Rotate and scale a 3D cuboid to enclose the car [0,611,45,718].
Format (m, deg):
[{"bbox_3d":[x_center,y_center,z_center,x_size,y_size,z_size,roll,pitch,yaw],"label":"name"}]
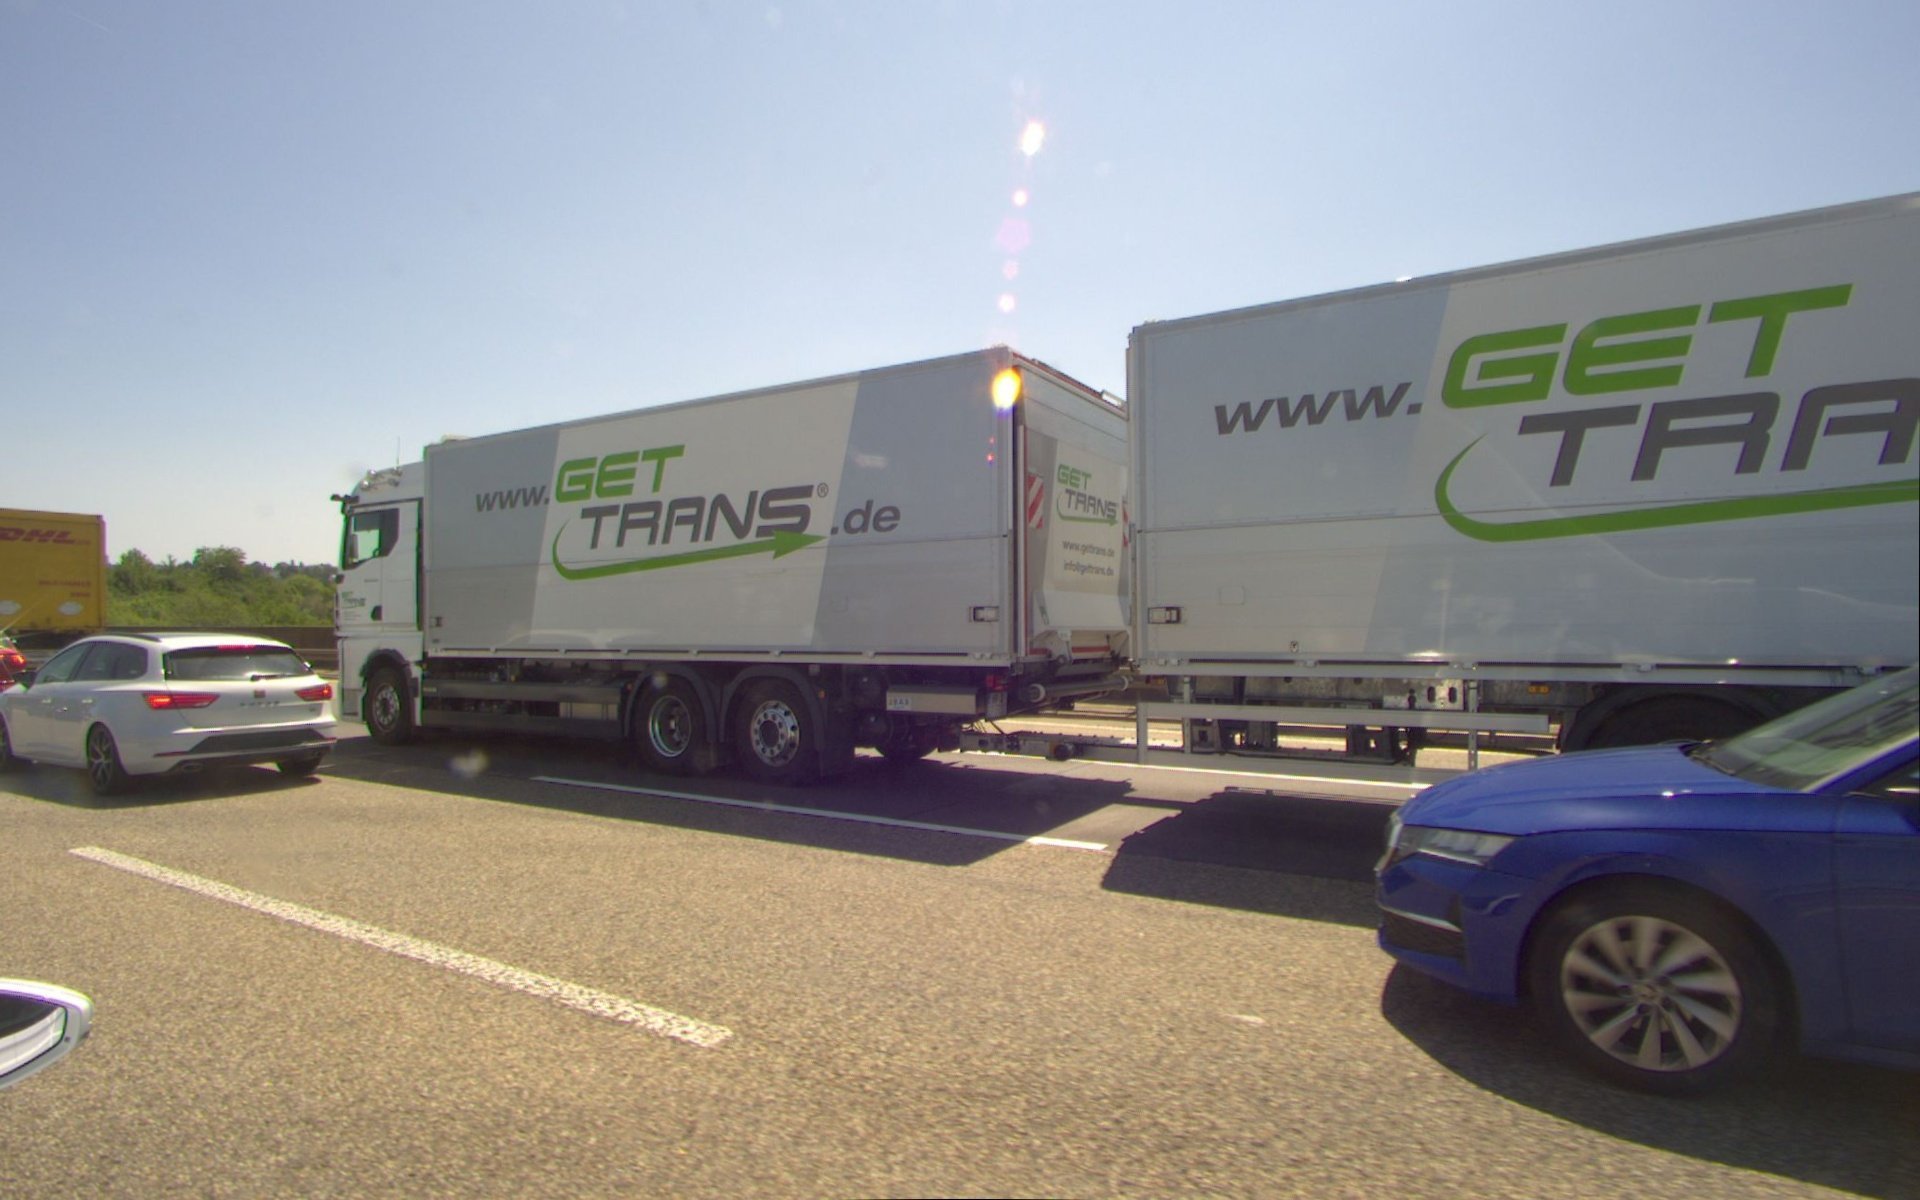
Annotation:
[{"bbox_3d":[-16.420,0.990,15.875,3.942,1.629,1.848,-1,-1,32],"label":"car"}]

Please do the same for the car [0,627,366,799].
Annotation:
[{"bbox_3d":[-8.032,0.983,10.117,4.126,1.405,1.779,-1,-1,31],"label":"car"}]

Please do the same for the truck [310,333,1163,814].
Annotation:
[{"bbox_3d":[-3.234,-0.137,11.575,10.610,3.649,2.847,0,-1,31],"label":"truck"}]

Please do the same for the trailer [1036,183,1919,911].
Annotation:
[{"bbox_3d":[4.788,-0.222,6.670,8.170,3.641,2.840,-1,-1,31],"label":"trailer"}]

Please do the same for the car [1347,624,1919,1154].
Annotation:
[{"bbox_3d":[3.695,0.805,3.117,4.435,1.459,1.707,-1,-1,32],"label":"car"}]

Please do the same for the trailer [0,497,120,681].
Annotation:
[{"bbox_3d":[-24.569,-0.119,25.127,8.802,4.074,2.697,-1,-2,32],"label":"trailer"}]
